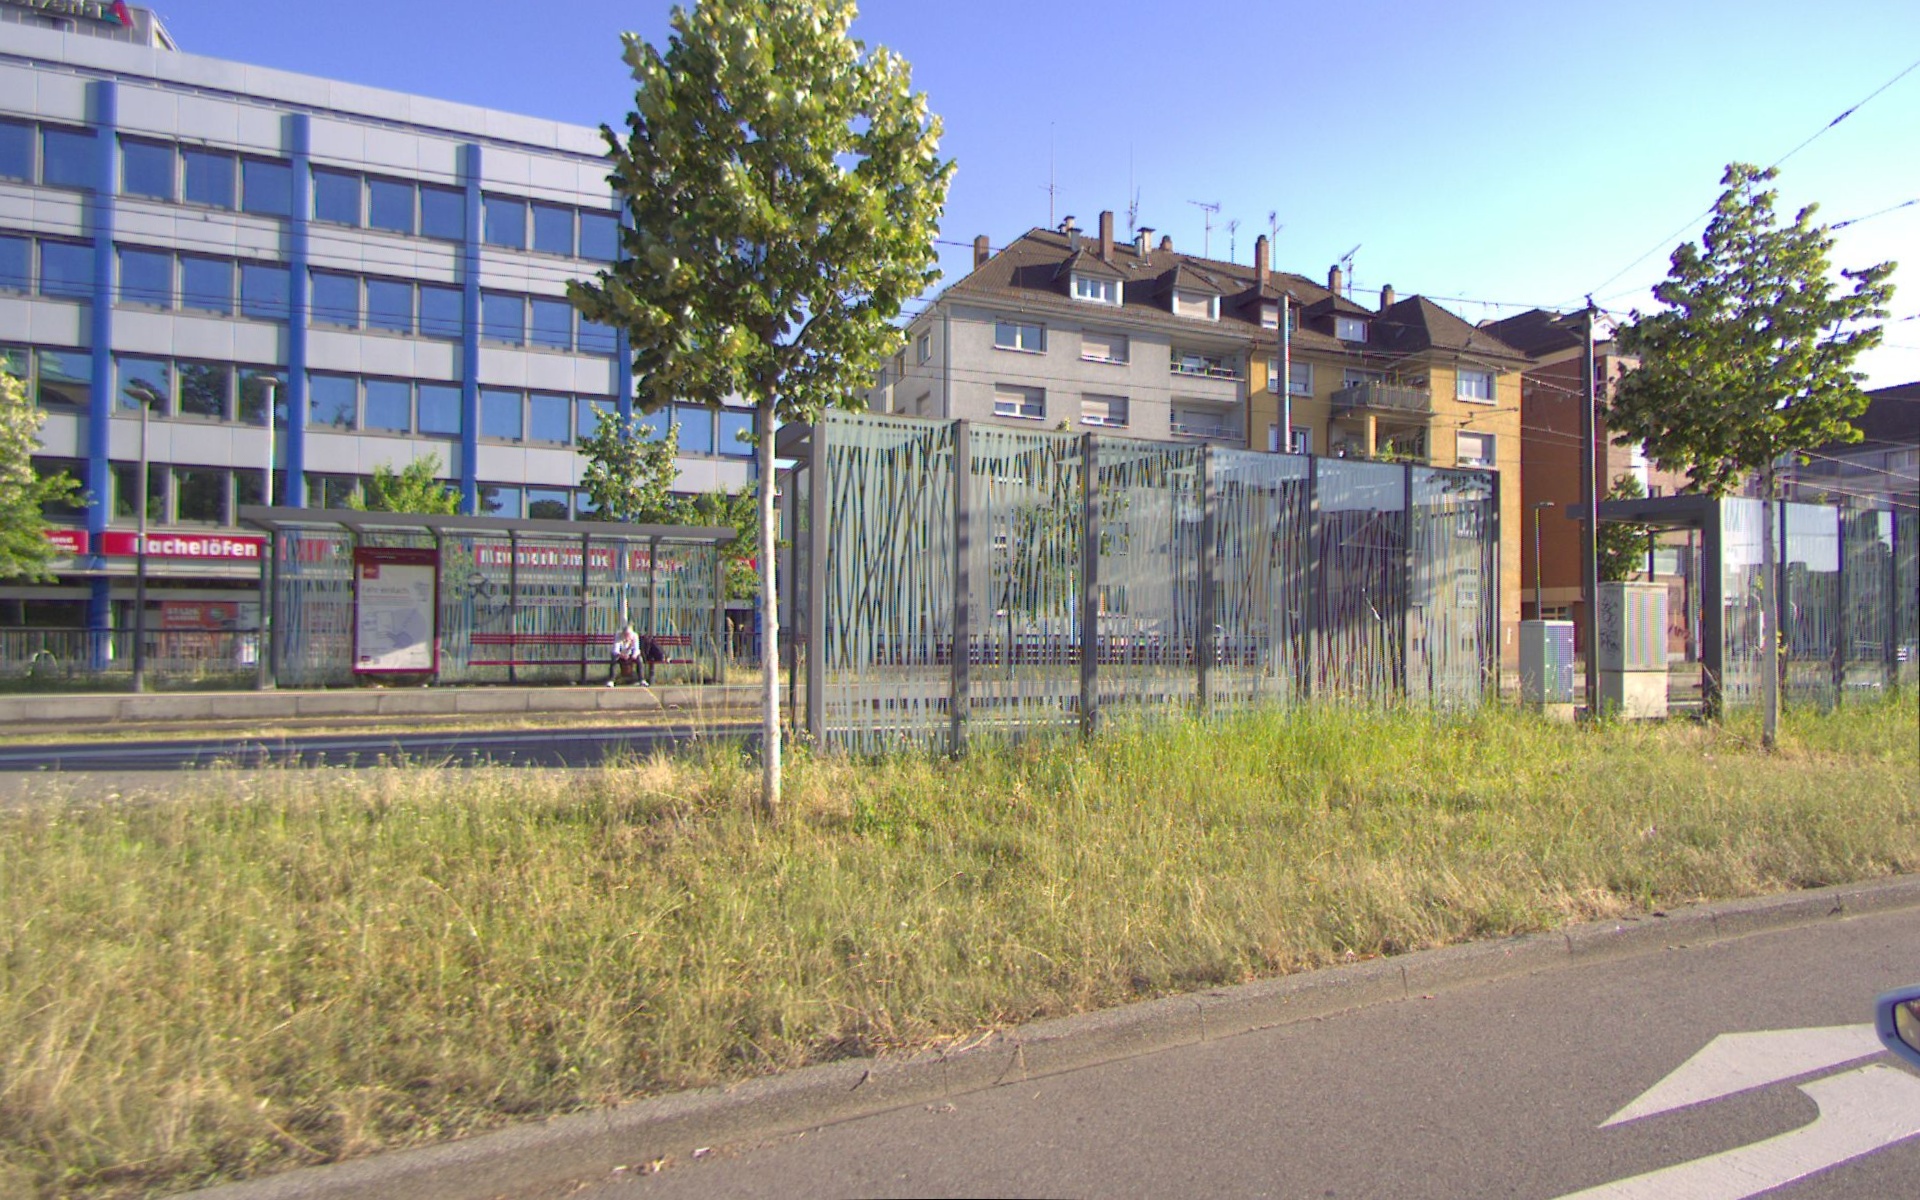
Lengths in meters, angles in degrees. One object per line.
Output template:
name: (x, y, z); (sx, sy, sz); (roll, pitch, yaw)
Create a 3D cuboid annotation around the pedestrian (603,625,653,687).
pedestrian: (-5.813, 0.969, 17.583); (0.783, 1.061, 0.626); (1, -2, -23)
